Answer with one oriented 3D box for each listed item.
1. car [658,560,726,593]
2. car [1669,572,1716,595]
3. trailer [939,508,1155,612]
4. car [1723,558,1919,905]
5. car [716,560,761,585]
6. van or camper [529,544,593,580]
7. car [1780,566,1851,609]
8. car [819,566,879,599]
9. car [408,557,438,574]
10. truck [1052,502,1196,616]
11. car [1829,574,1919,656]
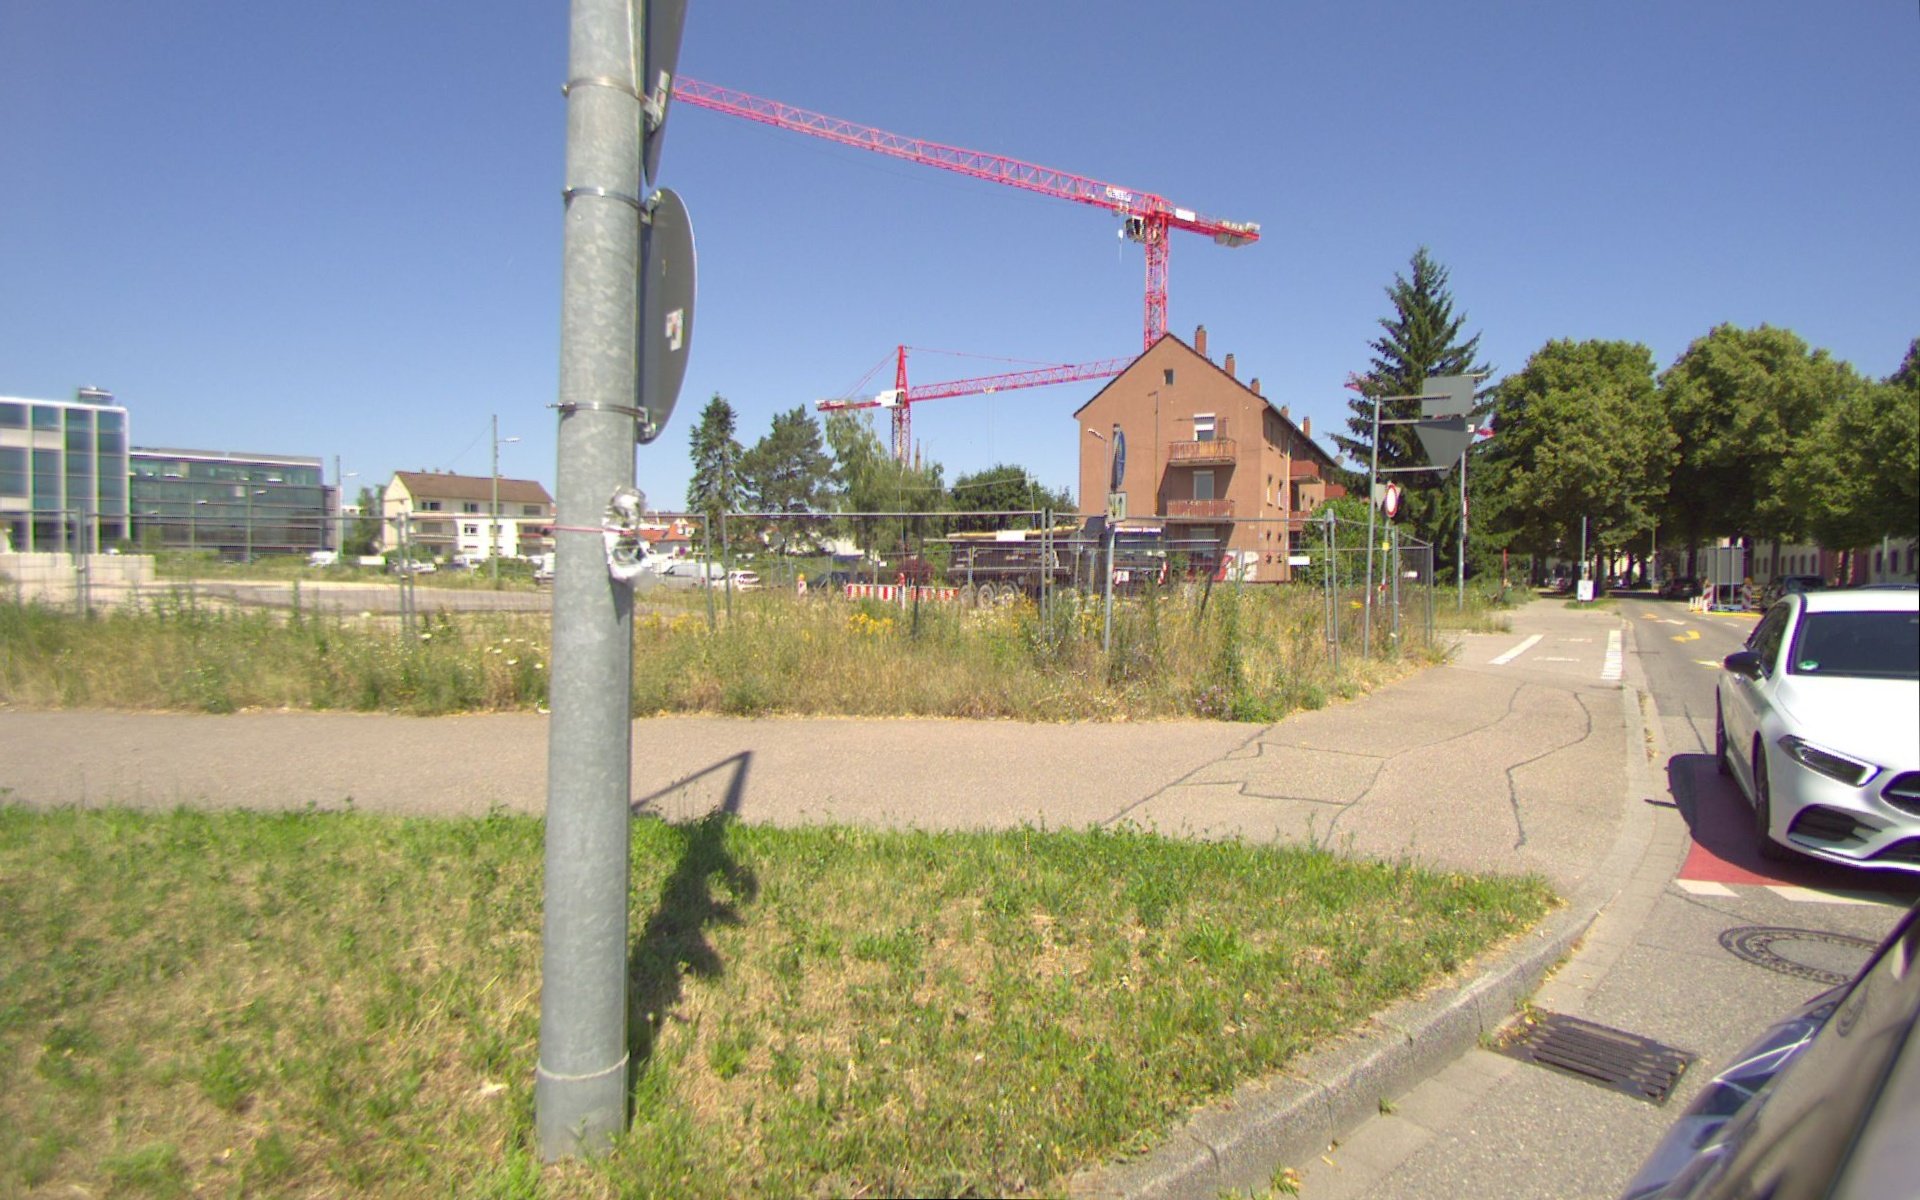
[{"bbox_3d":[-16.994,-1.509,64.043,4.659,2.038,1.760,2,2,39],"label":"car"},{"bbox_3d":[46.824,-1.057,64.747,1.626,1.399,3.858,1,2,24],"label":"car"},{"bbox_3d":[3.116,-1.533,39.405,3.107,3.576,8.988,0,2,-38],"label":"trailer"},{"bbox_3d":[5.723,0.551,5.966,1.770,1.565,3.914,-1,1,35],"label":"car"},{"bbox_3d":[-13.268,-1.658,60.544,1.396,1.422,2.784,-3,4,-44],"label":"car"},{"bbox_3d":[-30.350,-2.902,76.898,6.983,2.634,1.899,2,2,45],"label":"van or camper"},{"bbox_3d":[37.248,-0.560,44.169,1.676,1.791,4.158,2,2,31],"label":"car"},{"bbox_3d":[-5.851,-0.943,52.937,1.347,1.633,3.411,-1,2,-43],"label":"car"},{"bbox_3d":[-52.681,-3.421,99.260,1.653,1.605,3.612,-2,2,-45],"label":"car"},{"bbox_3d":[5.448,-1.369,34.590,3.098,3.576,4.976,0,2,-14],"label":"truck"},{"bbox_3d":[18.401,0.276,18.334,1.771,1.469,4.608,-1,1,8],"label":"car"}]
